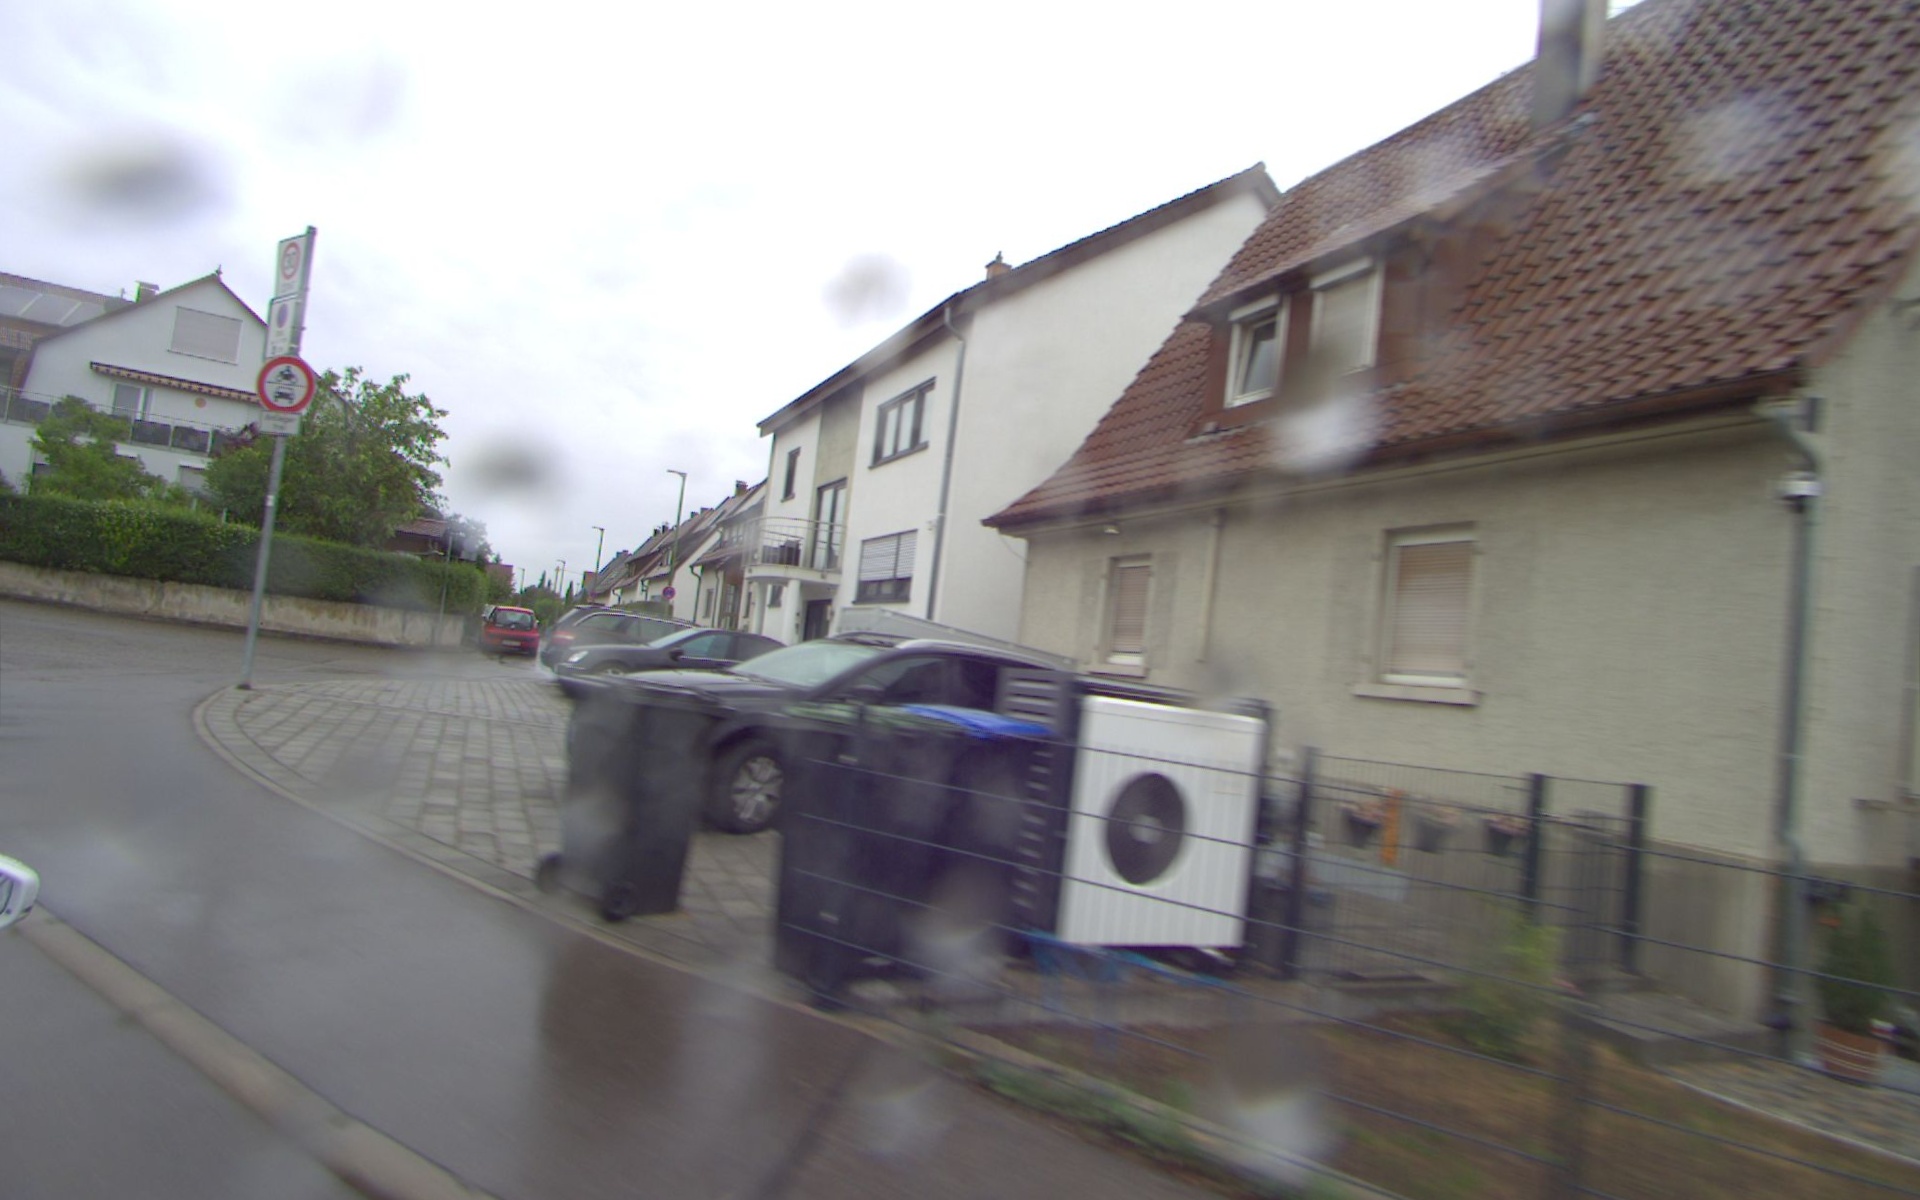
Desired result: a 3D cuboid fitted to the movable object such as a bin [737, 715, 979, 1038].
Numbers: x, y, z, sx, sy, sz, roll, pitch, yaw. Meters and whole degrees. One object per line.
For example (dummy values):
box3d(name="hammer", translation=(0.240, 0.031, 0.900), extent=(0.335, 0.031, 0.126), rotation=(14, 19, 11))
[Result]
box3d(name="movable object such as a bin", translation=(-0.416, 1.036, 3.988), extent=(0.527, 1.033, 0.725), rotation=(8, -1, -39))

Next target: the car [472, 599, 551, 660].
box3d(name="car", translation=(-14.452, 0.902, 32.357), extent=(2.004, 1.554, 4.194), rotation=(9, -3, -25))

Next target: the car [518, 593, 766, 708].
box3d(name="car", translation=(-5.776, 0.956, 18.316), extent=(3.954, 1.478, 1.864), rotation=(10, -6, -25))

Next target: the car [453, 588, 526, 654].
box3d(name="car", translation=(-17.919, 0.762, 38.226), extent=(1.979, 2.036, 3.971), rotation=(9, -2, -29))

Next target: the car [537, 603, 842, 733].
box3d(name="car", translation=(-4.283, 1.095, 15.997), extent=(4.349, 1.337, 1.777), rotation=(11, -5, -24))

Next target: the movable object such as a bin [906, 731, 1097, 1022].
box3d(name="movable object such as a bin", translation=(0.170, 1.111, 4.196), extent=(0.441, 1.033, 0.518), rotation=(8, 0, -42))

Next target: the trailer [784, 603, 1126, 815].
box3d(name="trailer", translation=(-0.068, 1.269, 11.802), extent=(3.423, 1.816, 1.680), rotation=(12, -5, -23))

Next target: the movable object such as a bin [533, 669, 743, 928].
box3d(name="movable object such as a bin", translation=(-1.486, 0.885, 4.679), extent=(0.532, 1.033, 0.627), rotation=(7, -1, 37))

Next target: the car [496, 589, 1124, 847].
box3d(name="car", translation=(-0.965, 0.937, 8.056), extent=(4.542, 1.400, 1.977), rotation=(9, -2, -41))
